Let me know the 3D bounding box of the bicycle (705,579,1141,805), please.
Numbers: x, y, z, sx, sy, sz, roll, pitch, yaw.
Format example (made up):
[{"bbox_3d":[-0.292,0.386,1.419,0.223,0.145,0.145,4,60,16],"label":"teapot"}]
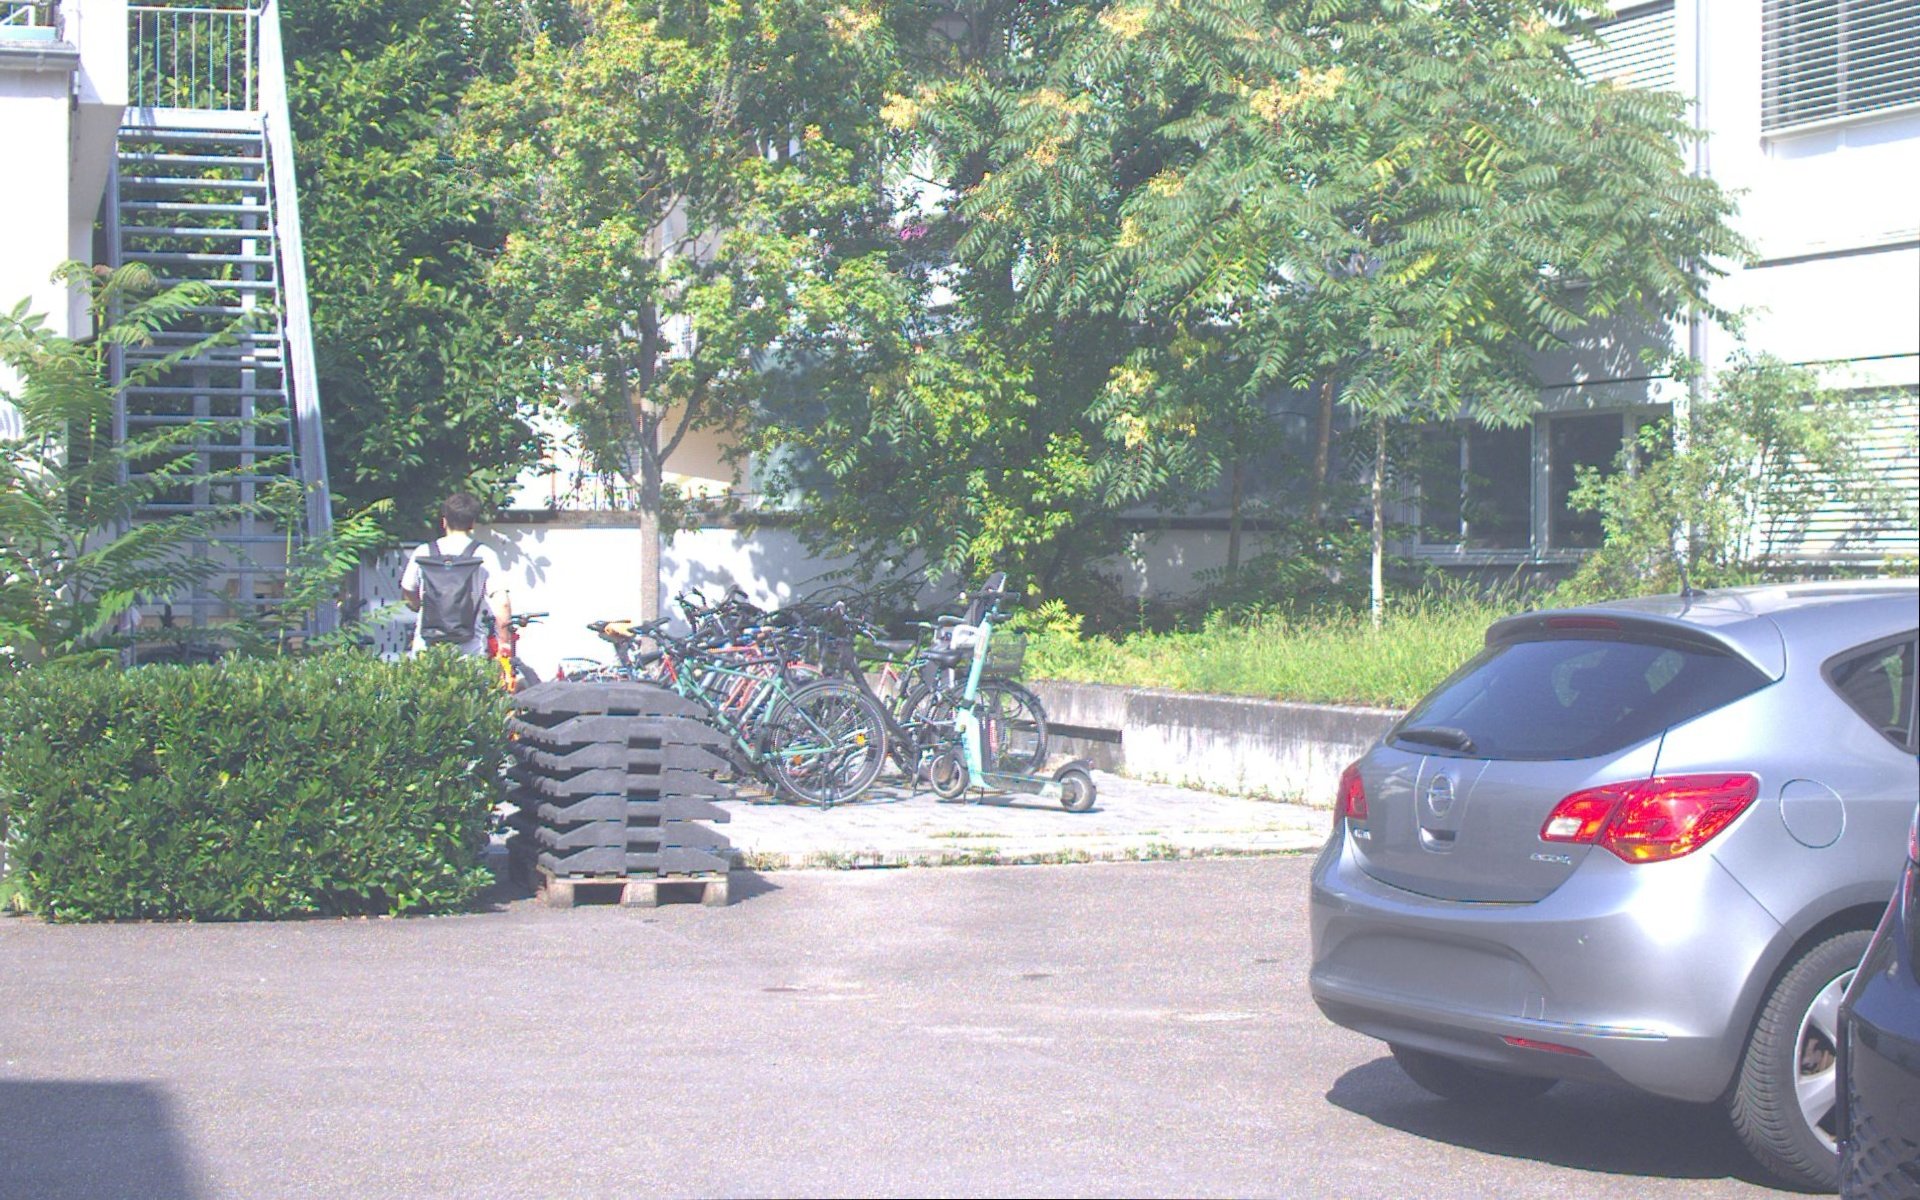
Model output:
[{"bbox_3d":[-0.207,0.530,19.665,2.410,1.242,0.526,1,0,-15],"label":"bicycle"}]

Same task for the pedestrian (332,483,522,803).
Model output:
[{"bbox_3d":[-3.018,0.237,19.455,0.858,1.765,0.611,1,1,-31],"label":"pedestrian"}]

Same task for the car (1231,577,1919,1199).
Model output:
[{"bbox_3d":[2.838,0.679,9.423,3.896,1.461,1.663,0,1,-29],"label":"car"}]

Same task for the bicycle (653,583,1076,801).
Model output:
[{"bbox_3d":[-0.560,0.545,20.270,2.410,1.242,0.526,1,0,-15],"label":"bicycle"}]

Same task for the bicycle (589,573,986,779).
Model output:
[{"bbox_3d":[-1.079,0.481,21.592,2.410,1.242,0.526,1,0,-15],"label":"bicycle"}]

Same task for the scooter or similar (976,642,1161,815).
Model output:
[{"bbox_3d":[0.606,0.713,19.339,0.998,0.921,0.359,2,1,37],"label":"scooter or similar"}]

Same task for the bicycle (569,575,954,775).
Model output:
[{"bbox_3d":[-1.282,0.488,22.279,2.410,1.242,0.526,1,0,-15],"label":"bicycle"}]

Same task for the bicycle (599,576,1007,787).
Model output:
[{"bbox_3d":[-0.958,0.503,21.023,2.410,1.242,0.526,1,0,-15],"label":"bicycle"}]

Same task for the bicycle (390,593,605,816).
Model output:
[{"bbox_3d":[-2.628,0.556,19.372,0.488,1.140,1.994,-1,2,-30],"label":"bicycle"}]

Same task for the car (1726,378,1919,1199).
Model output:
[{"bbox_3d":[3.858,0.526,6.721,4.334,1.852,1.915,0,1,-25],"label":"car"}]
